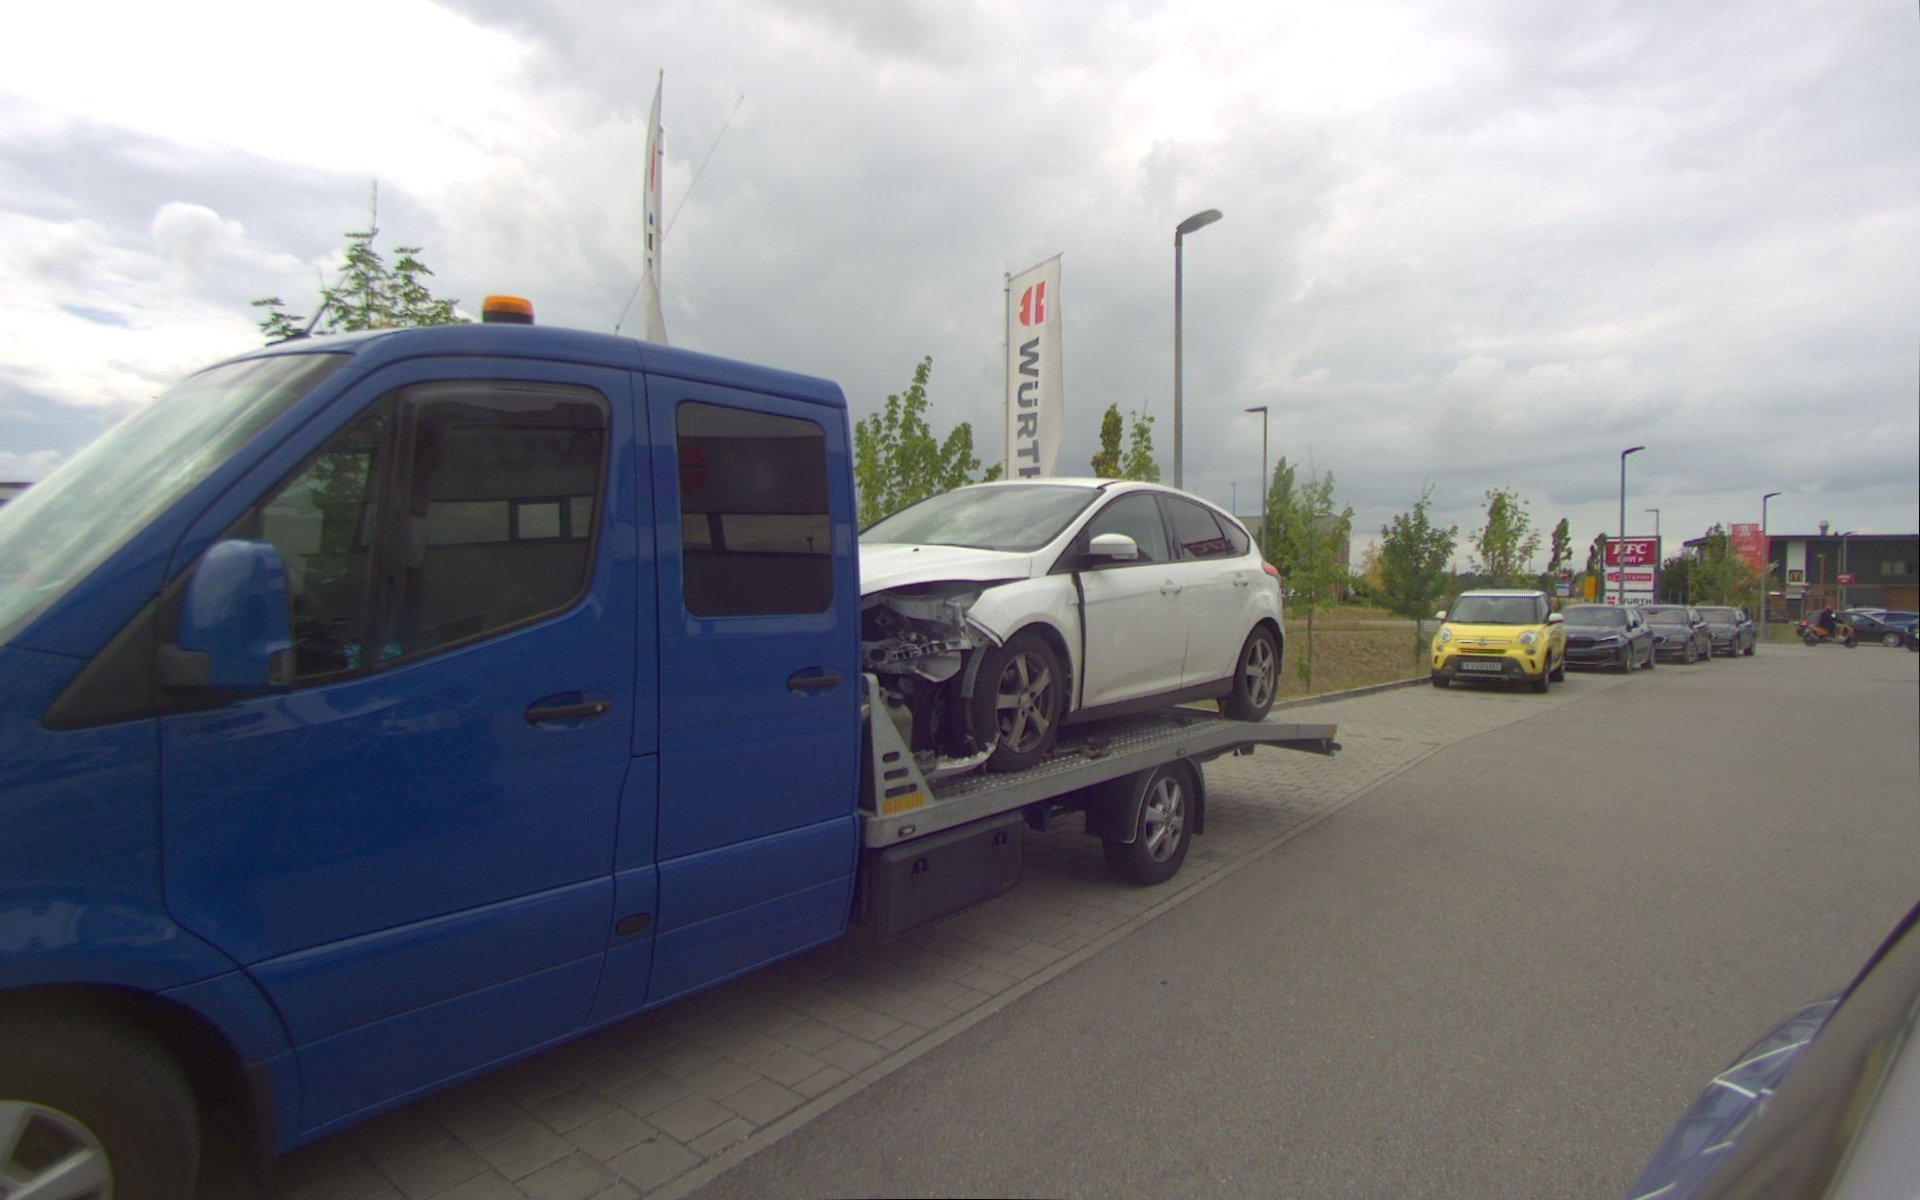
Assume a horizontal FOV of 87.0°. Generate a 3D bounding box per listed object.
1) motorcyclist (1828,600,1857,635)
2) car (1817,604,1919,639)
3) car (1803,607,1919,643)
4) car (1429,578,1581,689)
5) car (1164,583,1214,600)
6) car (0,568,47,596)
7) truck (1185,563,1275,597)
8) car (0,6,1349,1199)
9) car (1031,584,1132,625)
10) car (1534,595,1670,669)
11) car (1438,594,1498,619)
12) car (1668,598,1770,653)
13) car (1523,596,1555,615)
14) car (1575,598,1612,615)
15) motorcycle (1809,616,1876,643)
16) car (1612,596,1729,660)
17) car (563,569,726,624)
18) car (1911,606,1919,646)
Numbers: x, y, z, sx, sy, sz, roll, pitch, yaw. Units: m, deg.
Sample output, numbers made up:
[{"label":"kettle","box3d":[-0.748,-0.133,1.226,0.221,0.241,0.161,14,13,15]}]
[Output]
[{"label":"motorcyclist","box3d":[33.666,0.656,38.611,0.664,1.332,0.572,1,0,18]},{"label":"car","box3d":[41.522,0.939,45.777,1.779,1.438,3.993,1,1,-42]},{"label":"car","box3d":[39.523,1.063,44.184,1.779,1.438,3.993,1,1,-42]},{"label":"car","box3d":[9.706,0.505,17.858,1.743,1.704,4.241,1,0,37]},{"label":"car","box3d":[19.423,-0.732,85.979,3.812,1.446,1.723,1,1,31]},{"label":"car","box3d":[-53.033,-0.994,55.547,1.984,1.527,3.956,1,1,31]},{"label":"truck","box3d":[24.775,-1.796,92.921,8.012,2.982,2.685,0,1,-23]},{"label":"car","box3d":[-0.653,0.162,4.707,2.191,2.352,7.742,1,0,40]},{"label":"car","box3d":[5.124,0.176,42.391,4.262,1.588,1.905,1,1,-43]},{"label":"car","box3d":[14.104,0.630,22.133,1.747,1.433,4.238,1,0,43]},{"label":"car","box3d":[29.607,0.365,58.914,3.930,1.371,1.757,1,1,-41]},{"label":"car","box3d":[22.769,0.706,30.288,4.412,1.509,1.749,0,0,-44]},{"label":"car","box3d":[56.156,0.529,98.103,1.901,1.837,3.938,2,1,42]},{"label":"car","box3d":[59.427,0.619,94.893,4.298,1.534,1.995,1,1,-45]},{"label":"motorcycle","box3d":[33.612,1.115,38.576,1.844,0.928,0.553,1,0,19]},{"label":"car","box3d":[18.689,0.680,26.539,4.558,1.509,1.748,0,0,-45]},{"label":"car","box3d":[-9.026,-0.133,29.180,1.794,1.468,4.185,1,1,41]},{"label":"car","box3d":[36.542,1.005,36.366,3.076,1.465,1.502,2,1,11]}]
